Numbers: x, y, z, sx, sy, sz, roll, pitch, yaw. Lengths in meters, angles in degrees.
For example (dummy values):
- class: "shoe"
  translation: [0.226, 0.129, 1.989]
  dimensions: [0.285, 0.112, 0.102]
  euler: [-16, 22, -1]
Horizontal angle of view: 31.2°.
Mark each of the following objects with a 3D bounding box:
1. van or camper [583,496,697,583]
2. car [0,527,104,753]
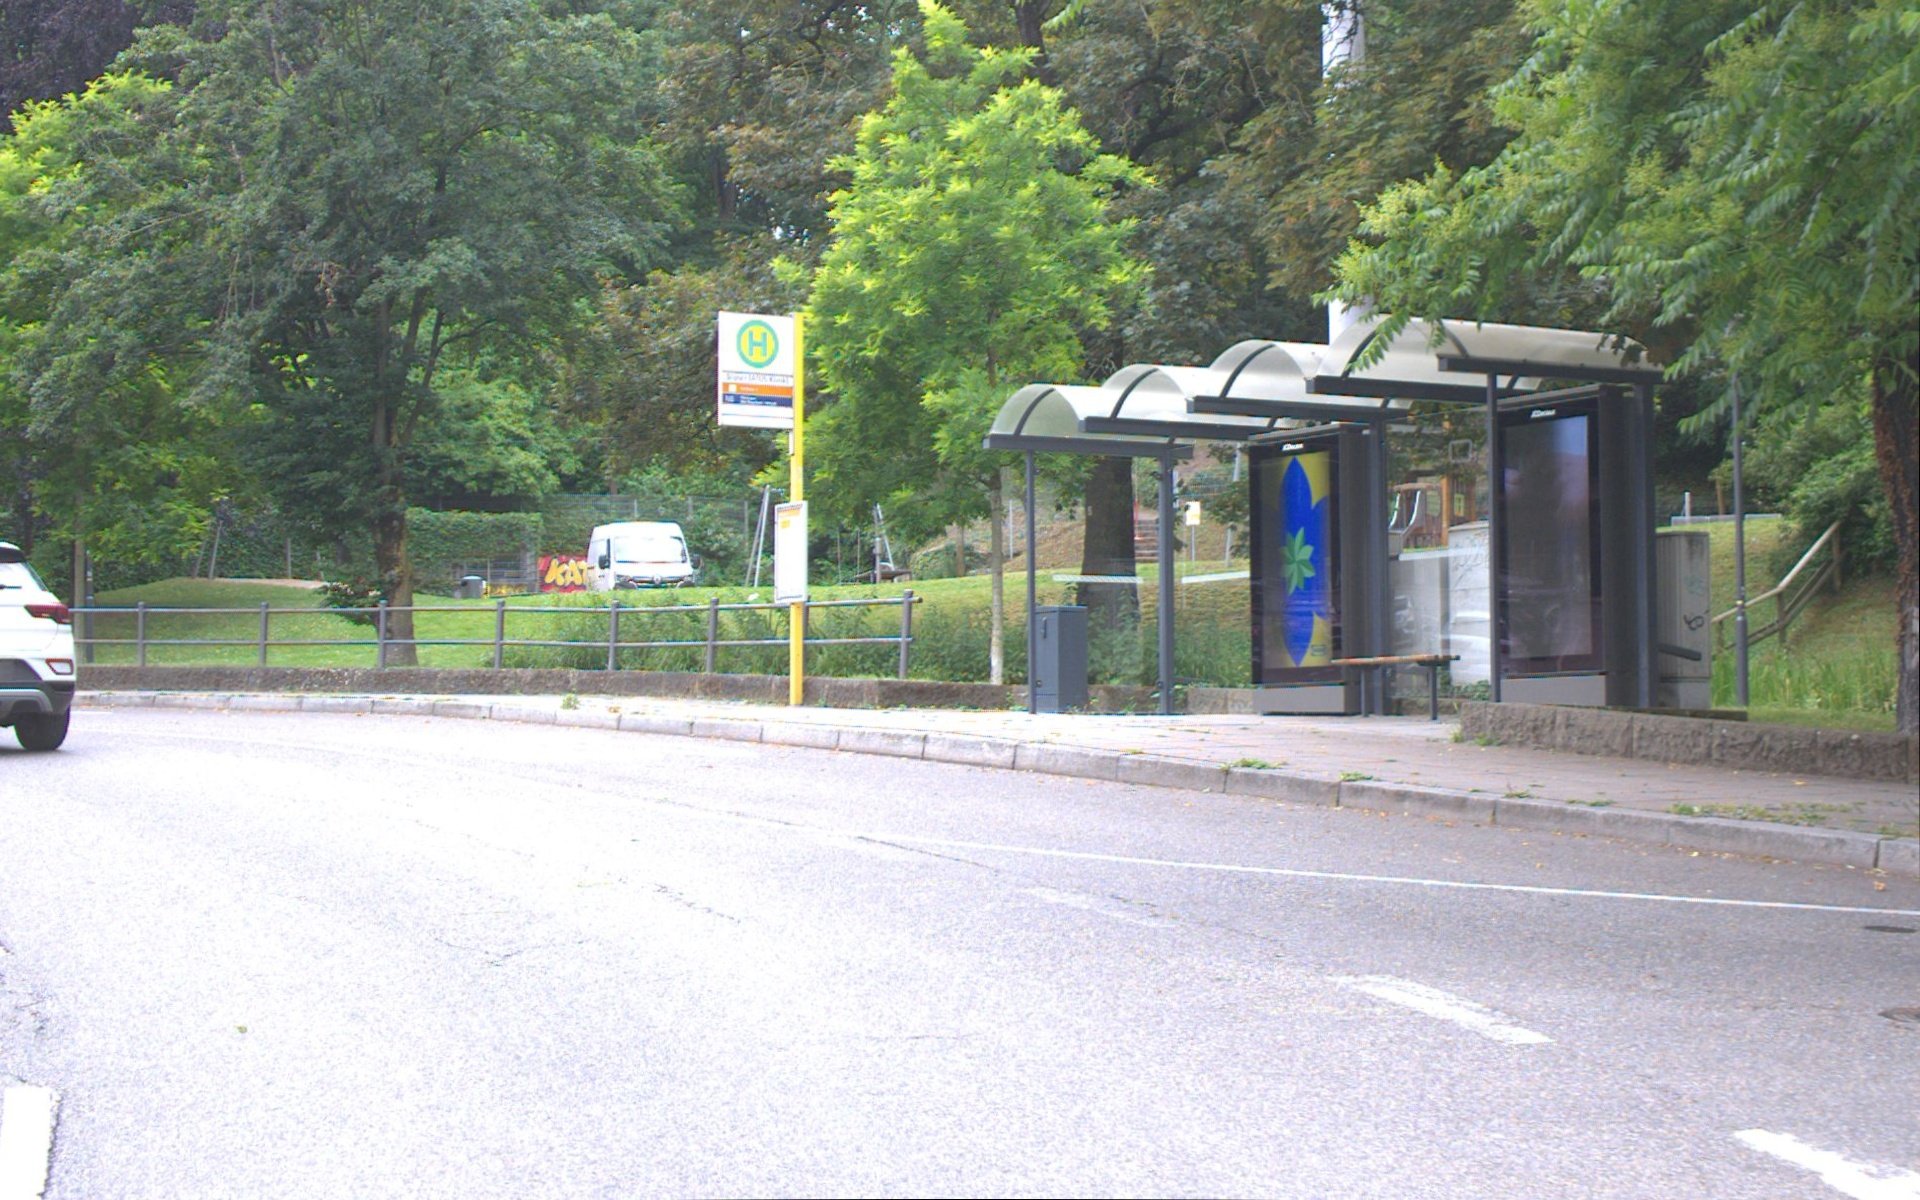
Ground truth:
- class: "van or camper"
  translation: [-7.816, -1.462, 83.500]
  dimensions: [2.303, 2.007, 5.443]
  euler: [1, 1, -10]
- class: "car"
  translation: [-7.867, 0.260, 25.109]
  dimensions: [1.865, 1.551, 3.894]
  euler: [0, 0, -35]
